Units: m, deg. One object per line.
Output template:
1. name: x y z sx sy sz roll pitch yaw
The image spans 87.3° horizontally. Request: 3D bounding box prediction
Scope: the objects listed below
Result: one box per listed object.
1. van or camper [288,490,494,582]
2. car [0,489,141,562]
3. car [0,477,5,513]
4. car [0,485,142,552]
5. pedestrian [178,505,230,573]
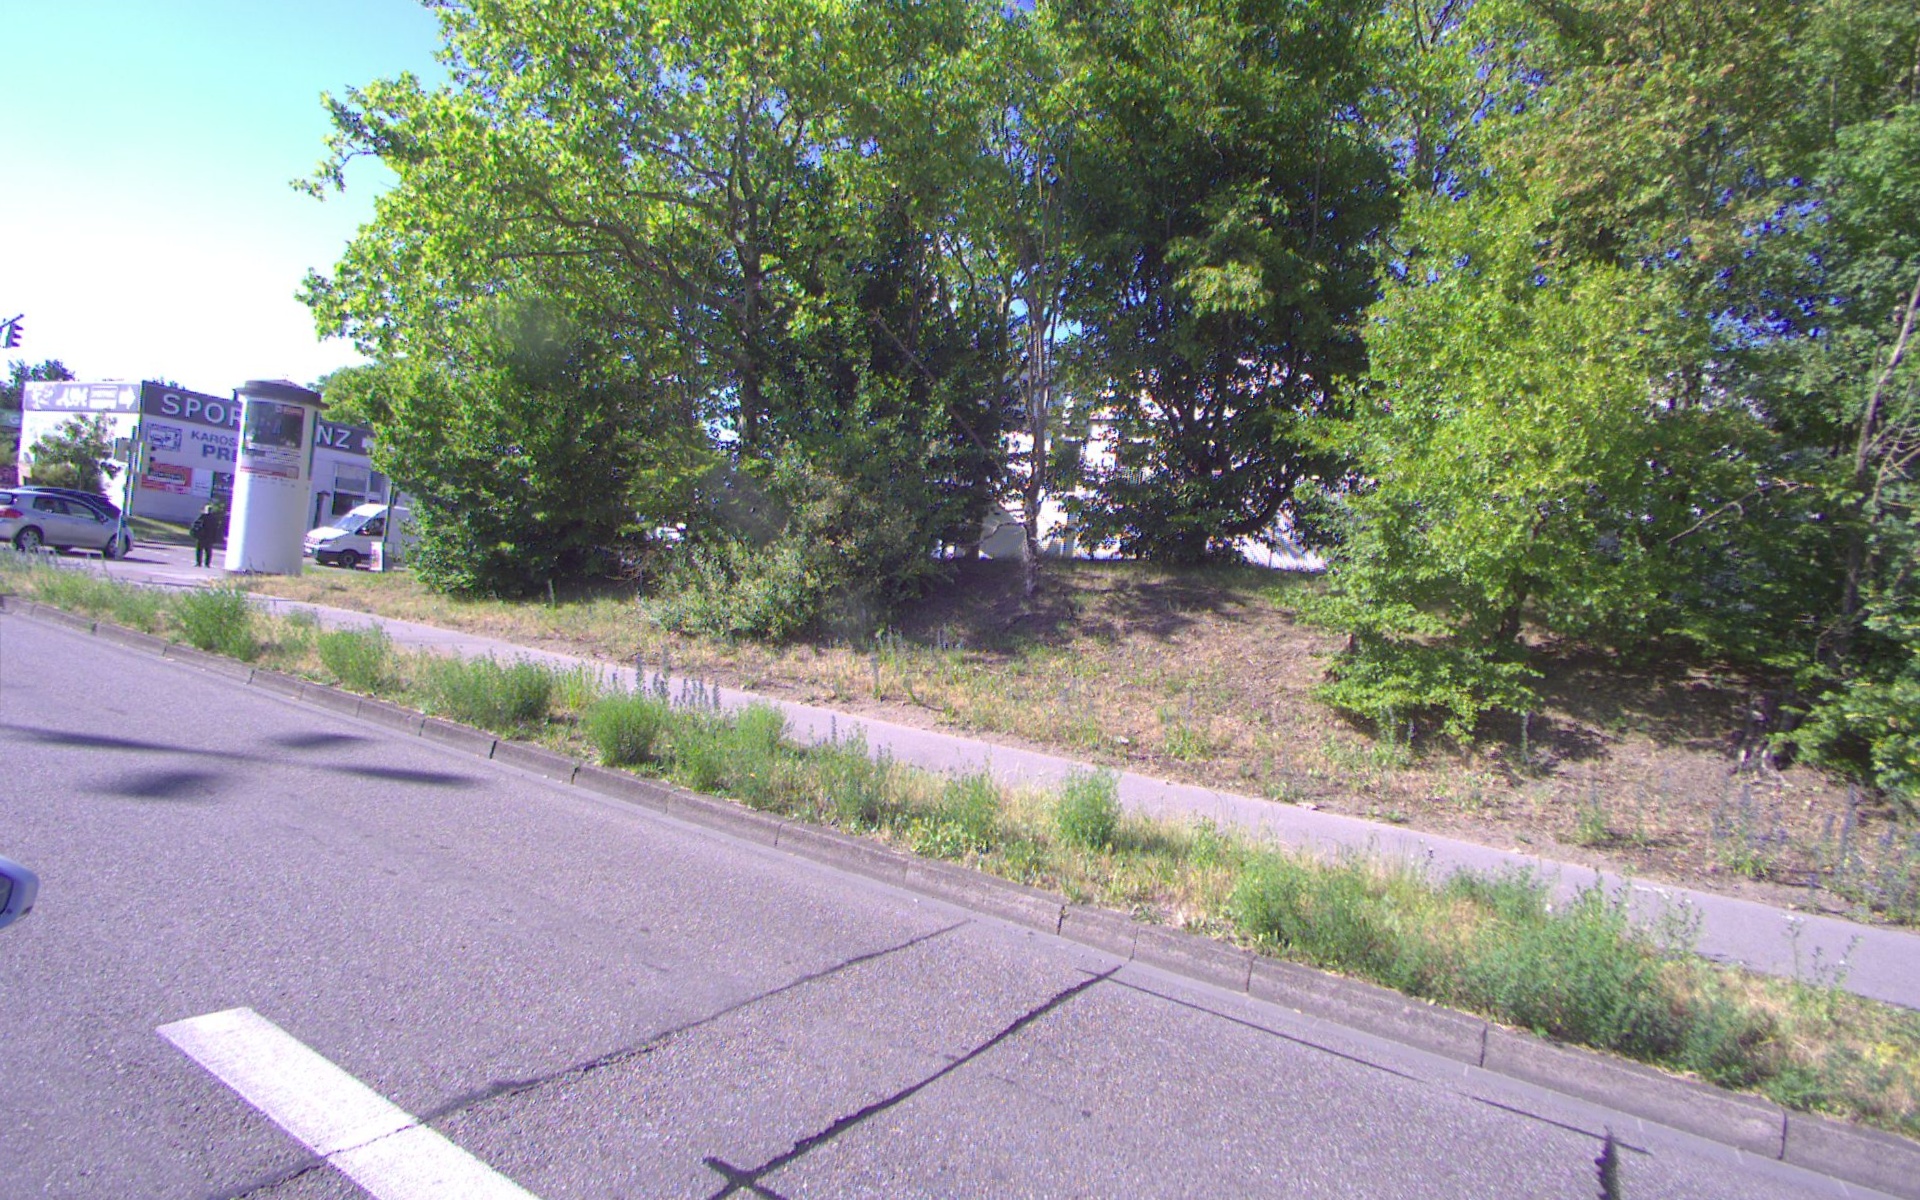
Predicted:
1. van or camper: -22.459 -2.456 40.141 2.149 2.603 6.742 7 -1 32
2. car: -23.896 -1.976 26.205 1.709 1.494 3.992 8 -1 0
3. car: -48.300 -5.352 47.692 1.663 1.726 4.003 7 -1 16
4. car: -30.269 -2.769 33.192 1.966 1.673 4.607 7 -1 31
5. pedestrian: -21.009 -1.699 27.954 0.841 1.743 0.822 7 0 39
